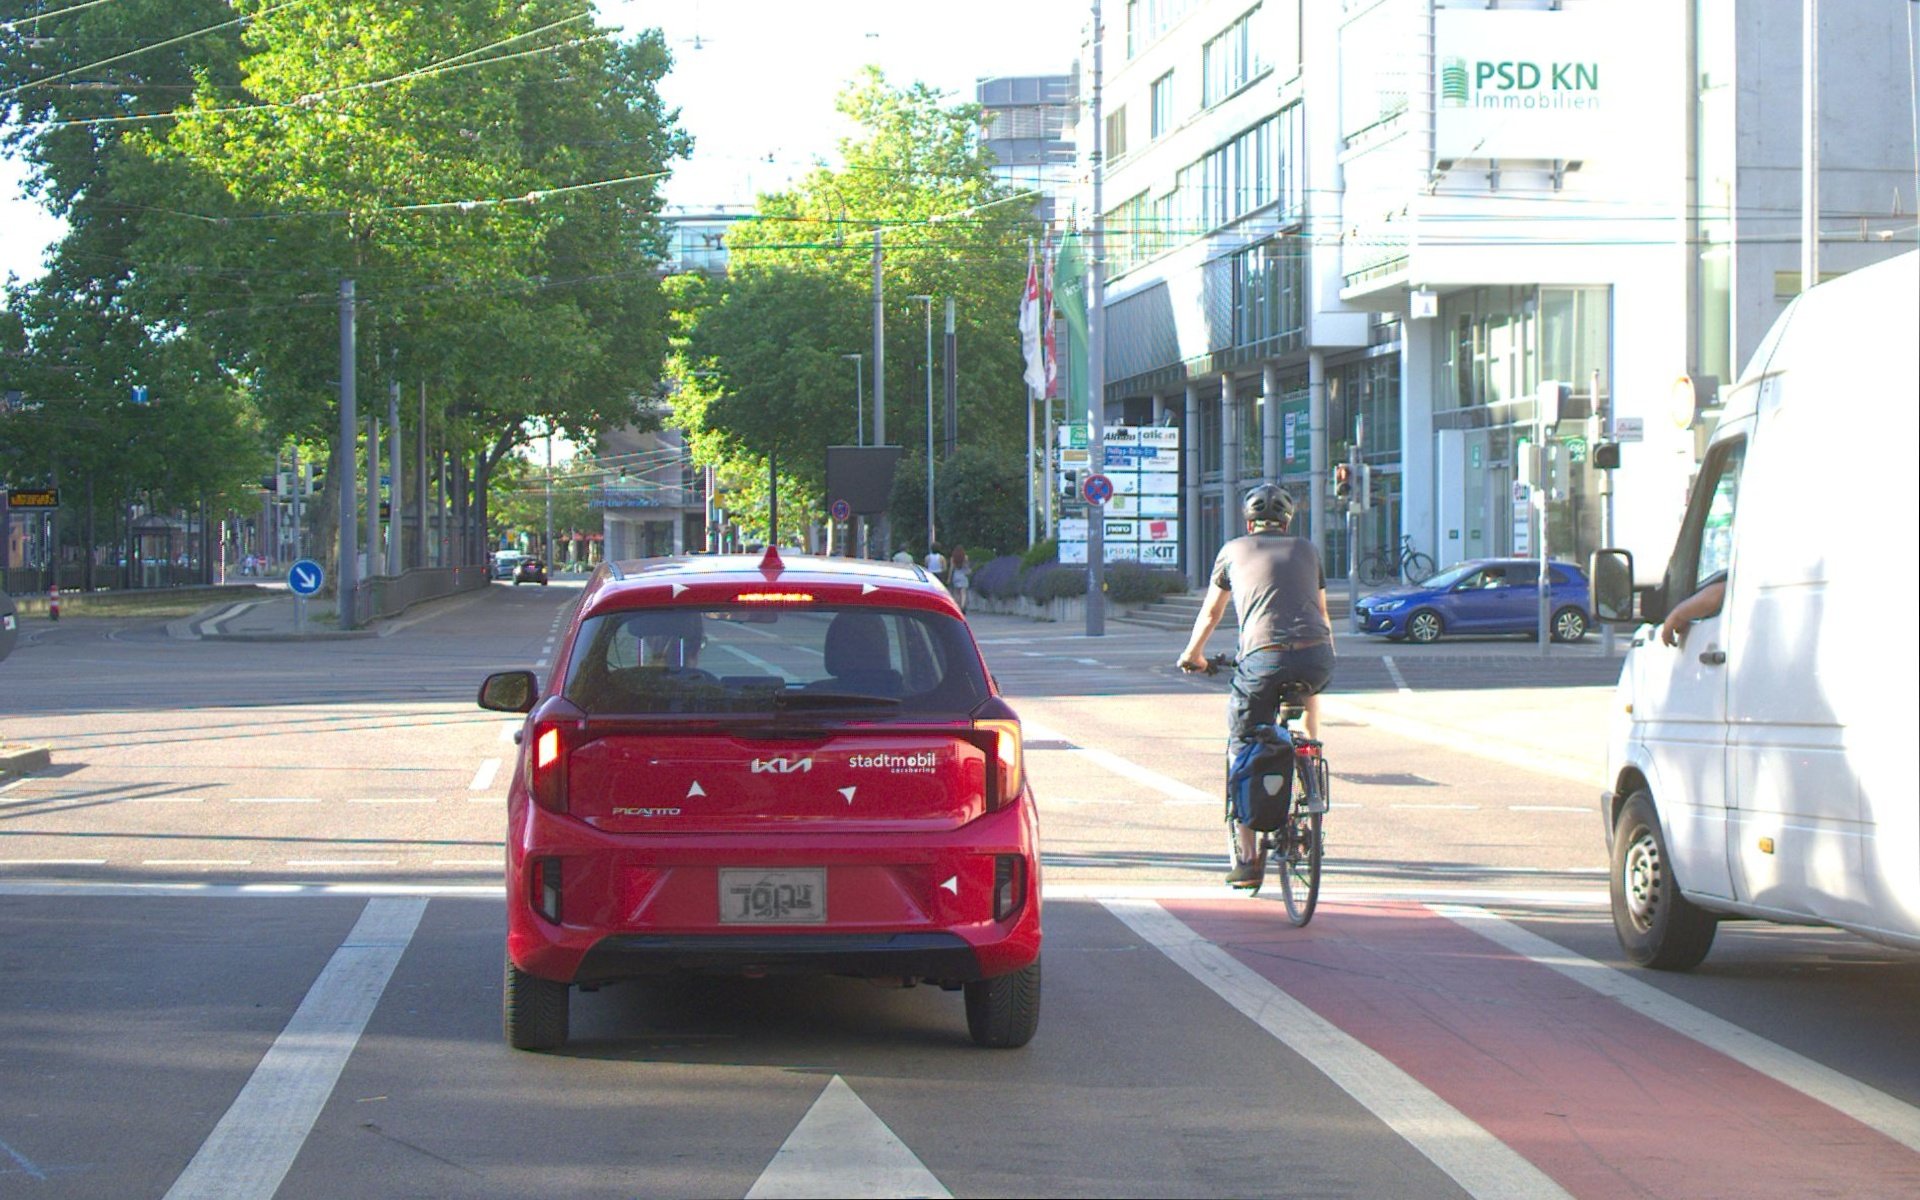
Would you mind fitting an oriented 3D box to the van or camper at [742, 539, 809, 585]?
[{"bbox_3d":[-7.355,-1.536,136.852,2.145,1.744,4.433,-1,1,-9],"label":"van or camper"}]

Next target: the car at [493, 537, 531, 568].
[{"bbox_3d":[-29.542,-3.132,226.842,1.993,2.007,4.000,-1,1,-1],"label":"car"}]

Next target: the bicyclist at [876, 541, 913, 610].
[{"bbox_3d":[-1.559,-0.590,81.469,0.785,1.629,0.639,0,1,-9],"label":"bicyclist"}]

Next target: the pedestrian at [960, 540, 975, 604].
[{"bbox_3d":[0.185,-0.694,83.854,0.294,1.556,0.314,0,1,13],"label":"pedestrian"}]

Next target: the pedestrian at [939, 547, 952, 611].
[{"bbox_3d":[-0.352,-0.505,83.805,0.294,1.556,0.356,-1,1,4],"label":"pedestrian"}]

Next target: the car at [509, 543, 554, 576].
[{"bbox_3d":[-22.411,-2.112,179.699,2.057,1.648,3.493,-1,1,-11],"label":"car"}]

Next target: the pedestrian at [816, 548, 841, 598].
[{"bbox_3d":[-4.550,-0.948,119.009,0.742,1.710,0.748,-1,1,-14],"label":"pedestrian"}]

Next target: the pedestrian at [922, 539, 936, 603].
[{"bbox_3d":[-0.750,-0.699,83.602,0.294,1.556,0.302,-1,1,-9],"label":"pedestrian"}]

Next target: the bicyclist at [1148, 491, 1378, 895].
[{"bbox_3d":[1.275,0.379,14.578,0.743,1.663,0.745,1,1,-12],"label":"bicyclist"}]

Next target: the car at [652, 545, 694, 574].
[{"bbox_3d":[-15.430,-2.188,184.692,1.884,1.523,4.433,-1,1,-9],"label":"car"}]

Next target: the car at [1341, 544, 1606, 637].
[{"bbox_3d":[9.058,-0.189,60.798,4.258,1.562,1.850,-1,1,-11],"label":"car"}]

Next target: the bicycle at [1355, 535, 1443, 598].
[{"bbox_3d":[10.227,-0.787,80.069,1.934,1.438,0.575,-1,1,-7],"label":"bicycle"}]

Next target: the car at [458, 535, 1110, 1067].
[{"bbox_3d":[-0.693,0.529,11.596,1.839,1.484,3.717,0,1,-6],"label":"car"}]

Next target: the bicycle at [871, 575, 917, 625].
[{"bbox_3d":[-1.579,-0.009,81.704,0.792,1.157,2.500,0,1,-8],"label":"bicycle"}]

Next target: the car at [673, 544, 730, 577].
[{"bbox_3d":[-12.811,-1.972,170.040,2.478,1.523,4.433,-1,1,-8],"label":"car"}]

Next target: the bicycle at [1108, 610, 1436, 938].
[{"bbox_3d":[1.279,0.695,14.613,0.743,1.220,2.157,1,1,-12],"label":"bicycle"}]

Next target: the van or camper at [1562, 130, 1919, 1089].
[{"bbox_3d":[3.822,0.044,10.260,2.268,2.724,6.348,2,1,-6],"label":"van or camper"}]
